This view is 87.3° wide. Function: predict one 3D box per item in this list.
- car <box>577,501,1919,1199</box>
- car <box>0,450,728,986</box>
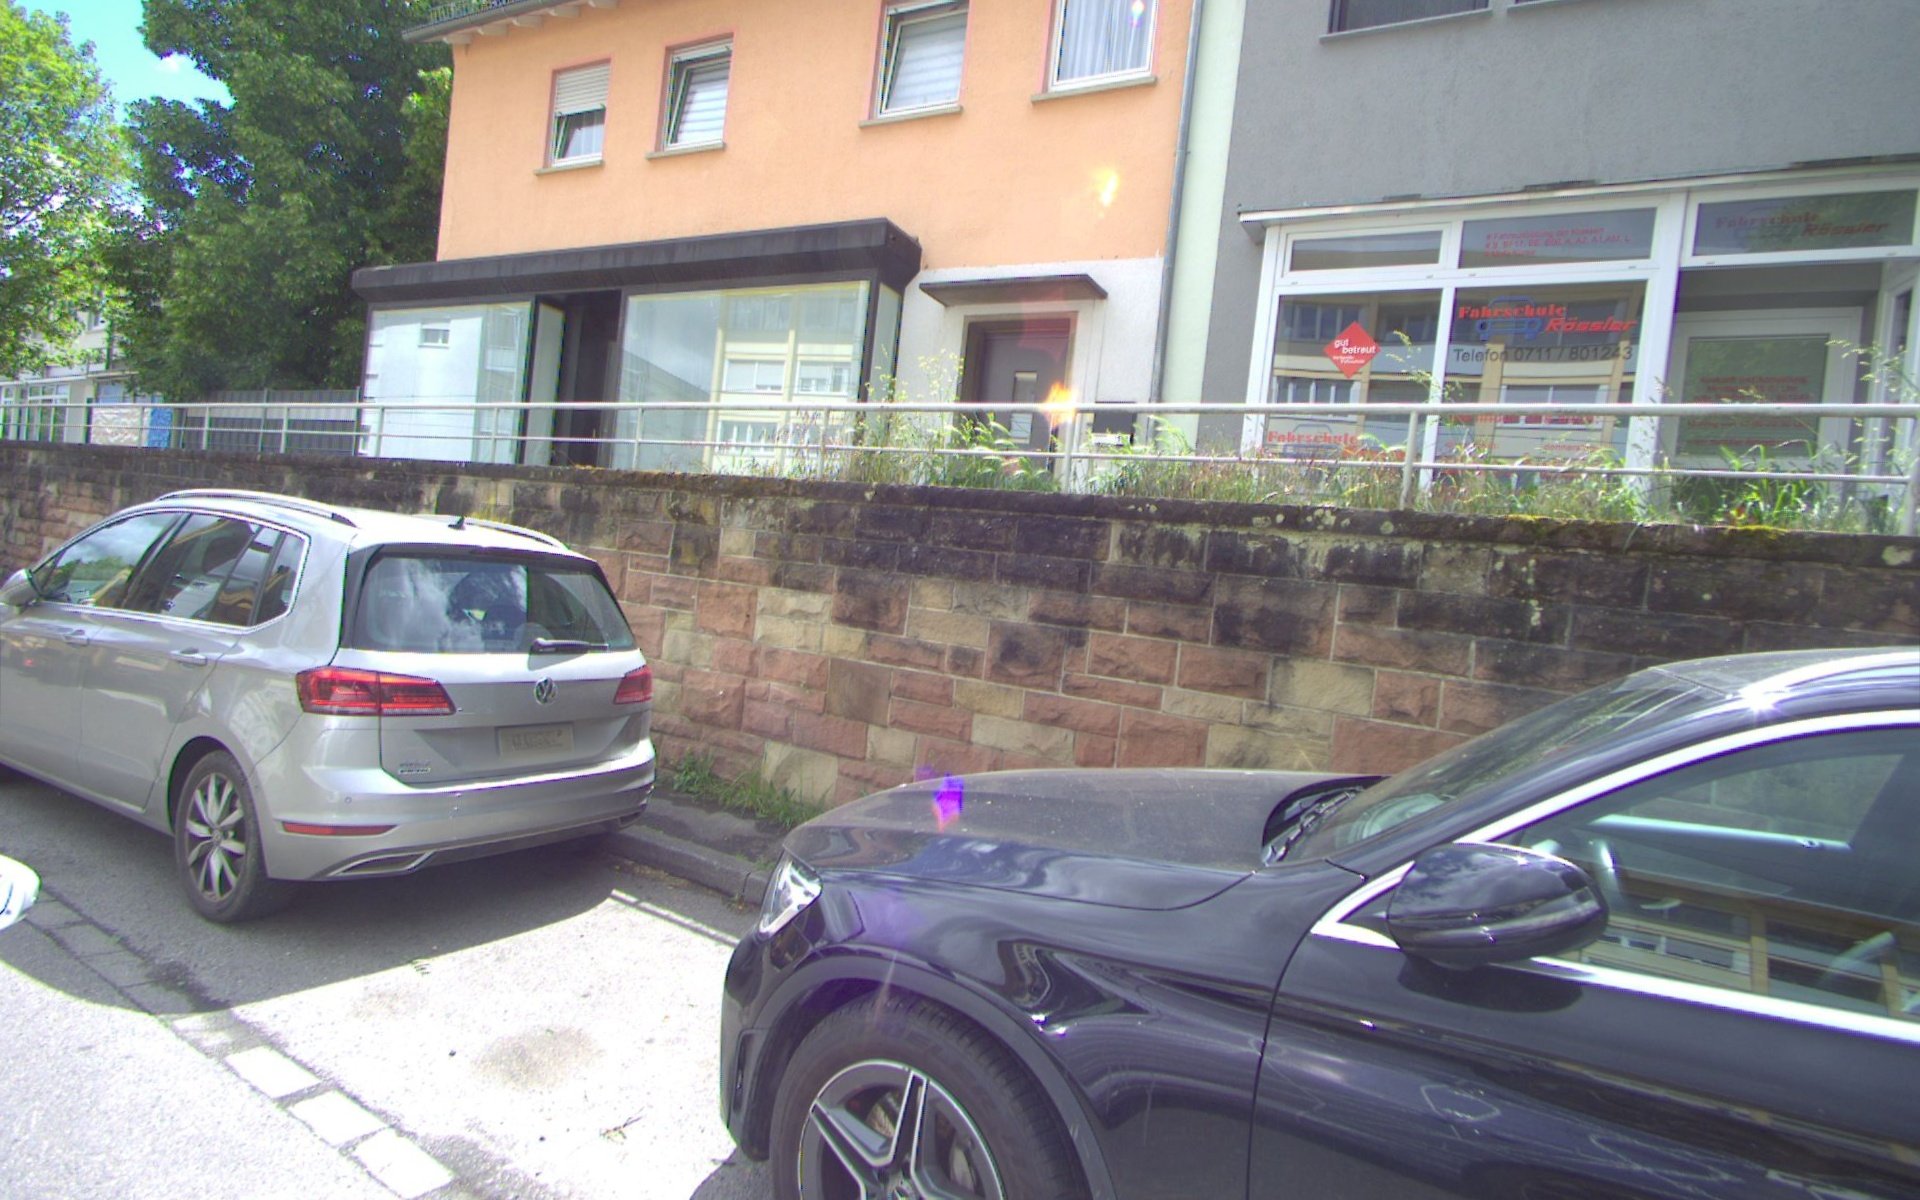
[{"bbox_3d":[1.508,0.849,1.930,4.373,1.639,1.791,7,2,31],"label":"car"},{"bbox_3d":[-3.395,0.247,5.024,4.177,1.638,1.791,7,1,31],"label":"car"}]
